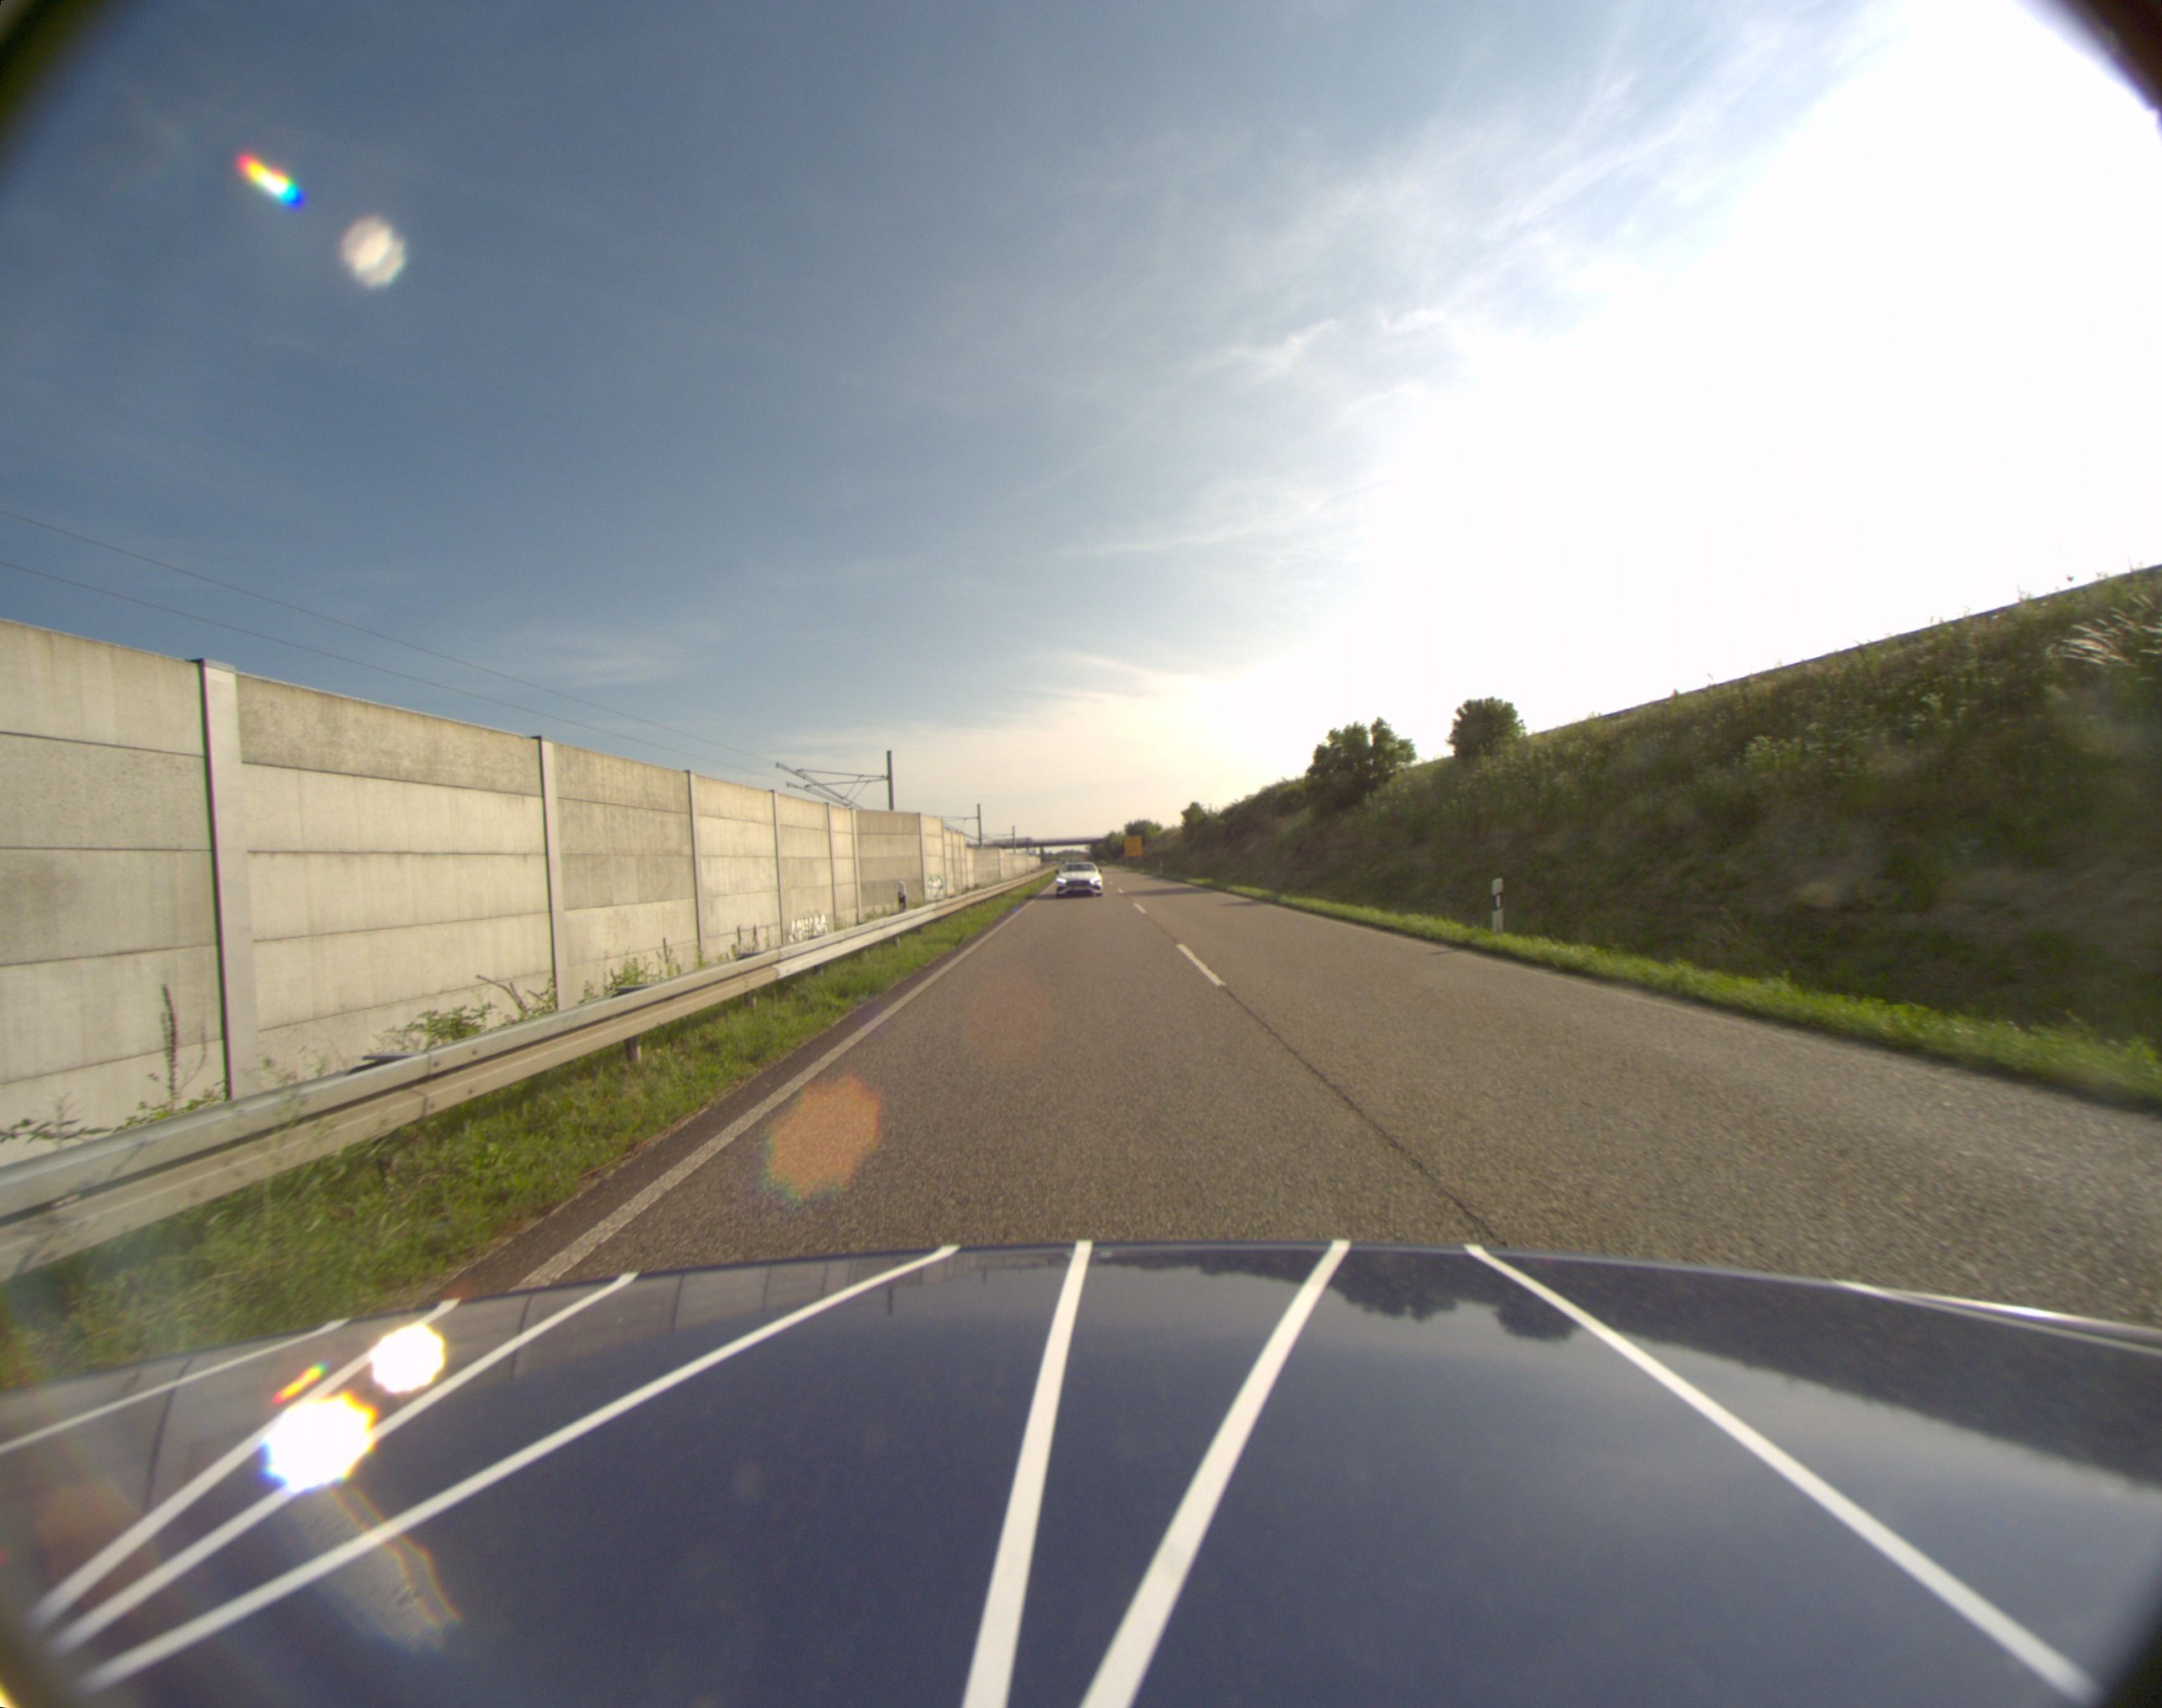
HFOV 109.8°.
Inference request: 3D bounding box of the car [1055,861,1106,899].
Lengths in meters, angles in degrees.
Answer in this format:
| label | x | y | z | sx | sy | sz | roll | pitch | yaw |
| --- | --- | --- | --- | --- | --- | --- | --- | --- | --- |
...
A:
| label | x | y | z | sx | sy | sz | roll | pitch | yaw |
| --- | --- | --- | --- | --- | --- | --- | --- | --- | --- |
| car | -0.046 | 1.024 | 32.157 | 1.930 | 1.398 | 4.973 | -1 | 0 | -1 |
